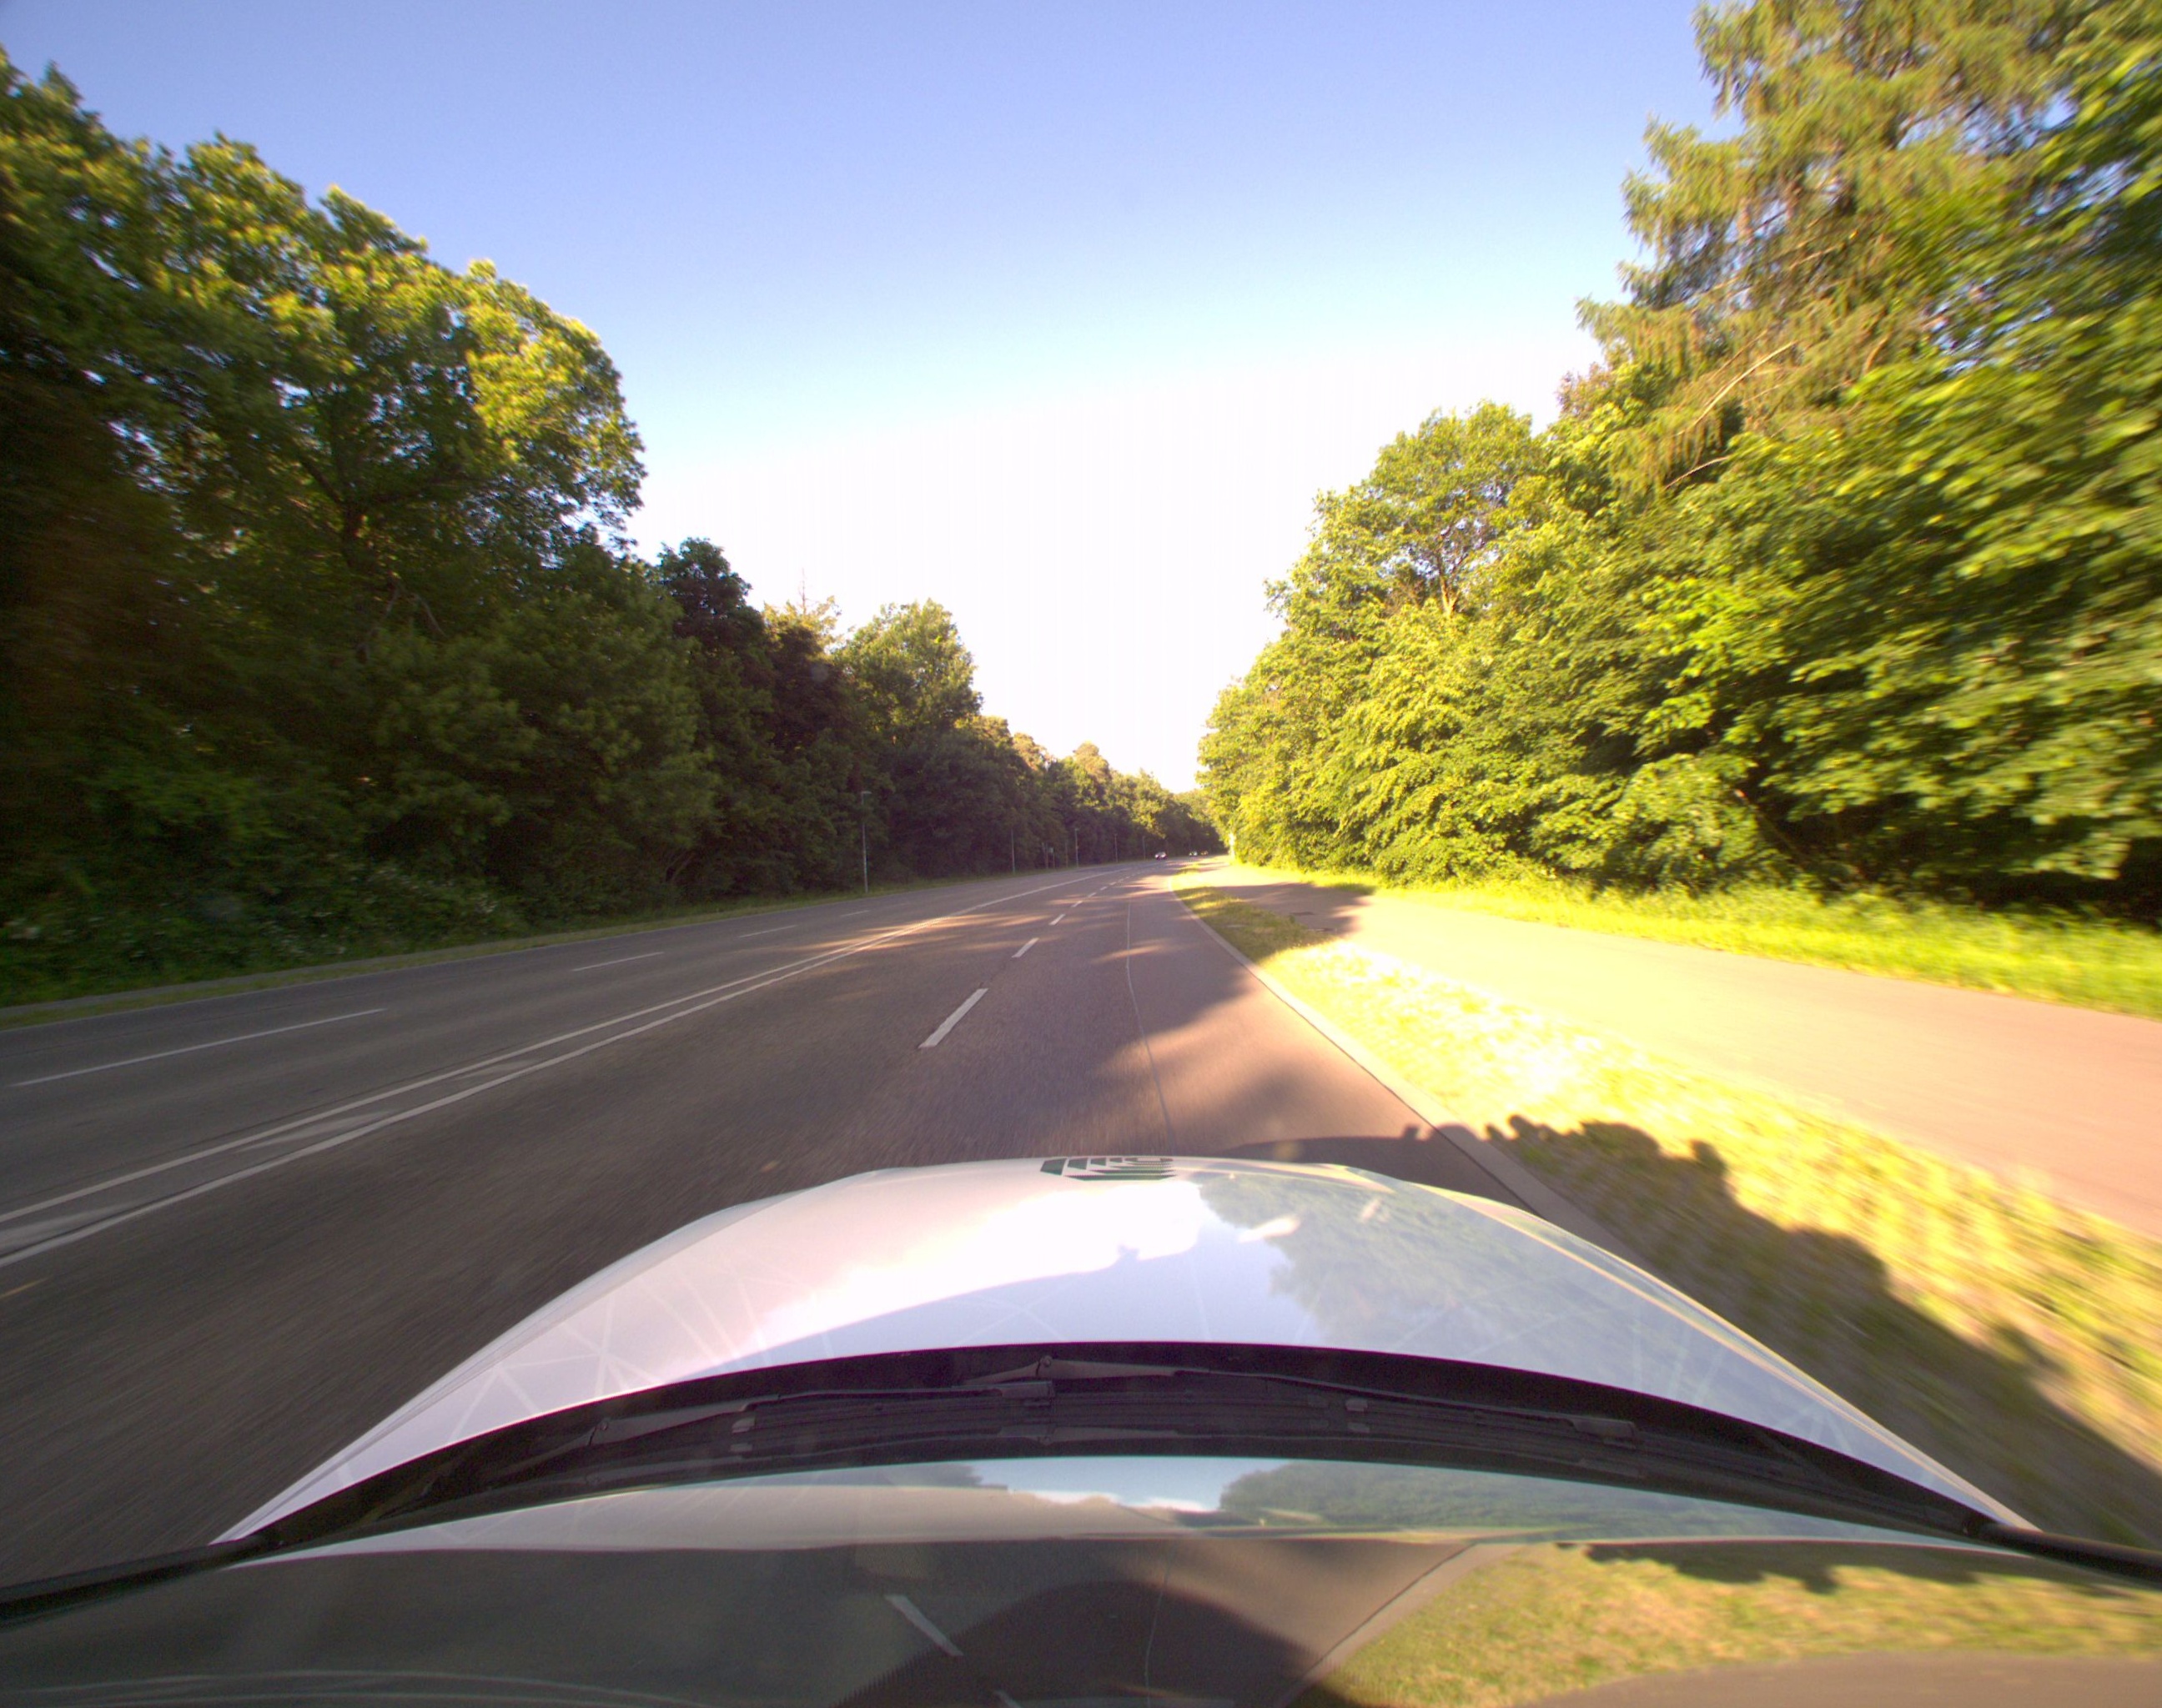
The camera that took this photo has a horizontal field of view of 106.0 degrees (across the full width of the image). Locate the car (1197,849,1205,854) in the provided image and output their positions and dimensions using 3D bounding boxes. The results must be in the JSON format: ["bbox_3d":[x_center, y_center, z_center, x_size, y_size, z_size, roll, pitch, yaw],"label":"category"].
[{"bbox_3d":[37.123,-0.747,251.399,1.980,1.585,4.013,-2,-1,12],"label":"car"}]

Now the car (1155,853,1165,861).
[{"bbox_3d":[16.851,0.743,173.224,1.984,1.585,4.005,-2,-1,4],"label":"car"}]

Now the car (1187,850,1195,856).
[{"bbox_3d":[31.181,-0.164,230.370,1.981,1.585,4.011,-2,-1,10],"label":"car"}]
